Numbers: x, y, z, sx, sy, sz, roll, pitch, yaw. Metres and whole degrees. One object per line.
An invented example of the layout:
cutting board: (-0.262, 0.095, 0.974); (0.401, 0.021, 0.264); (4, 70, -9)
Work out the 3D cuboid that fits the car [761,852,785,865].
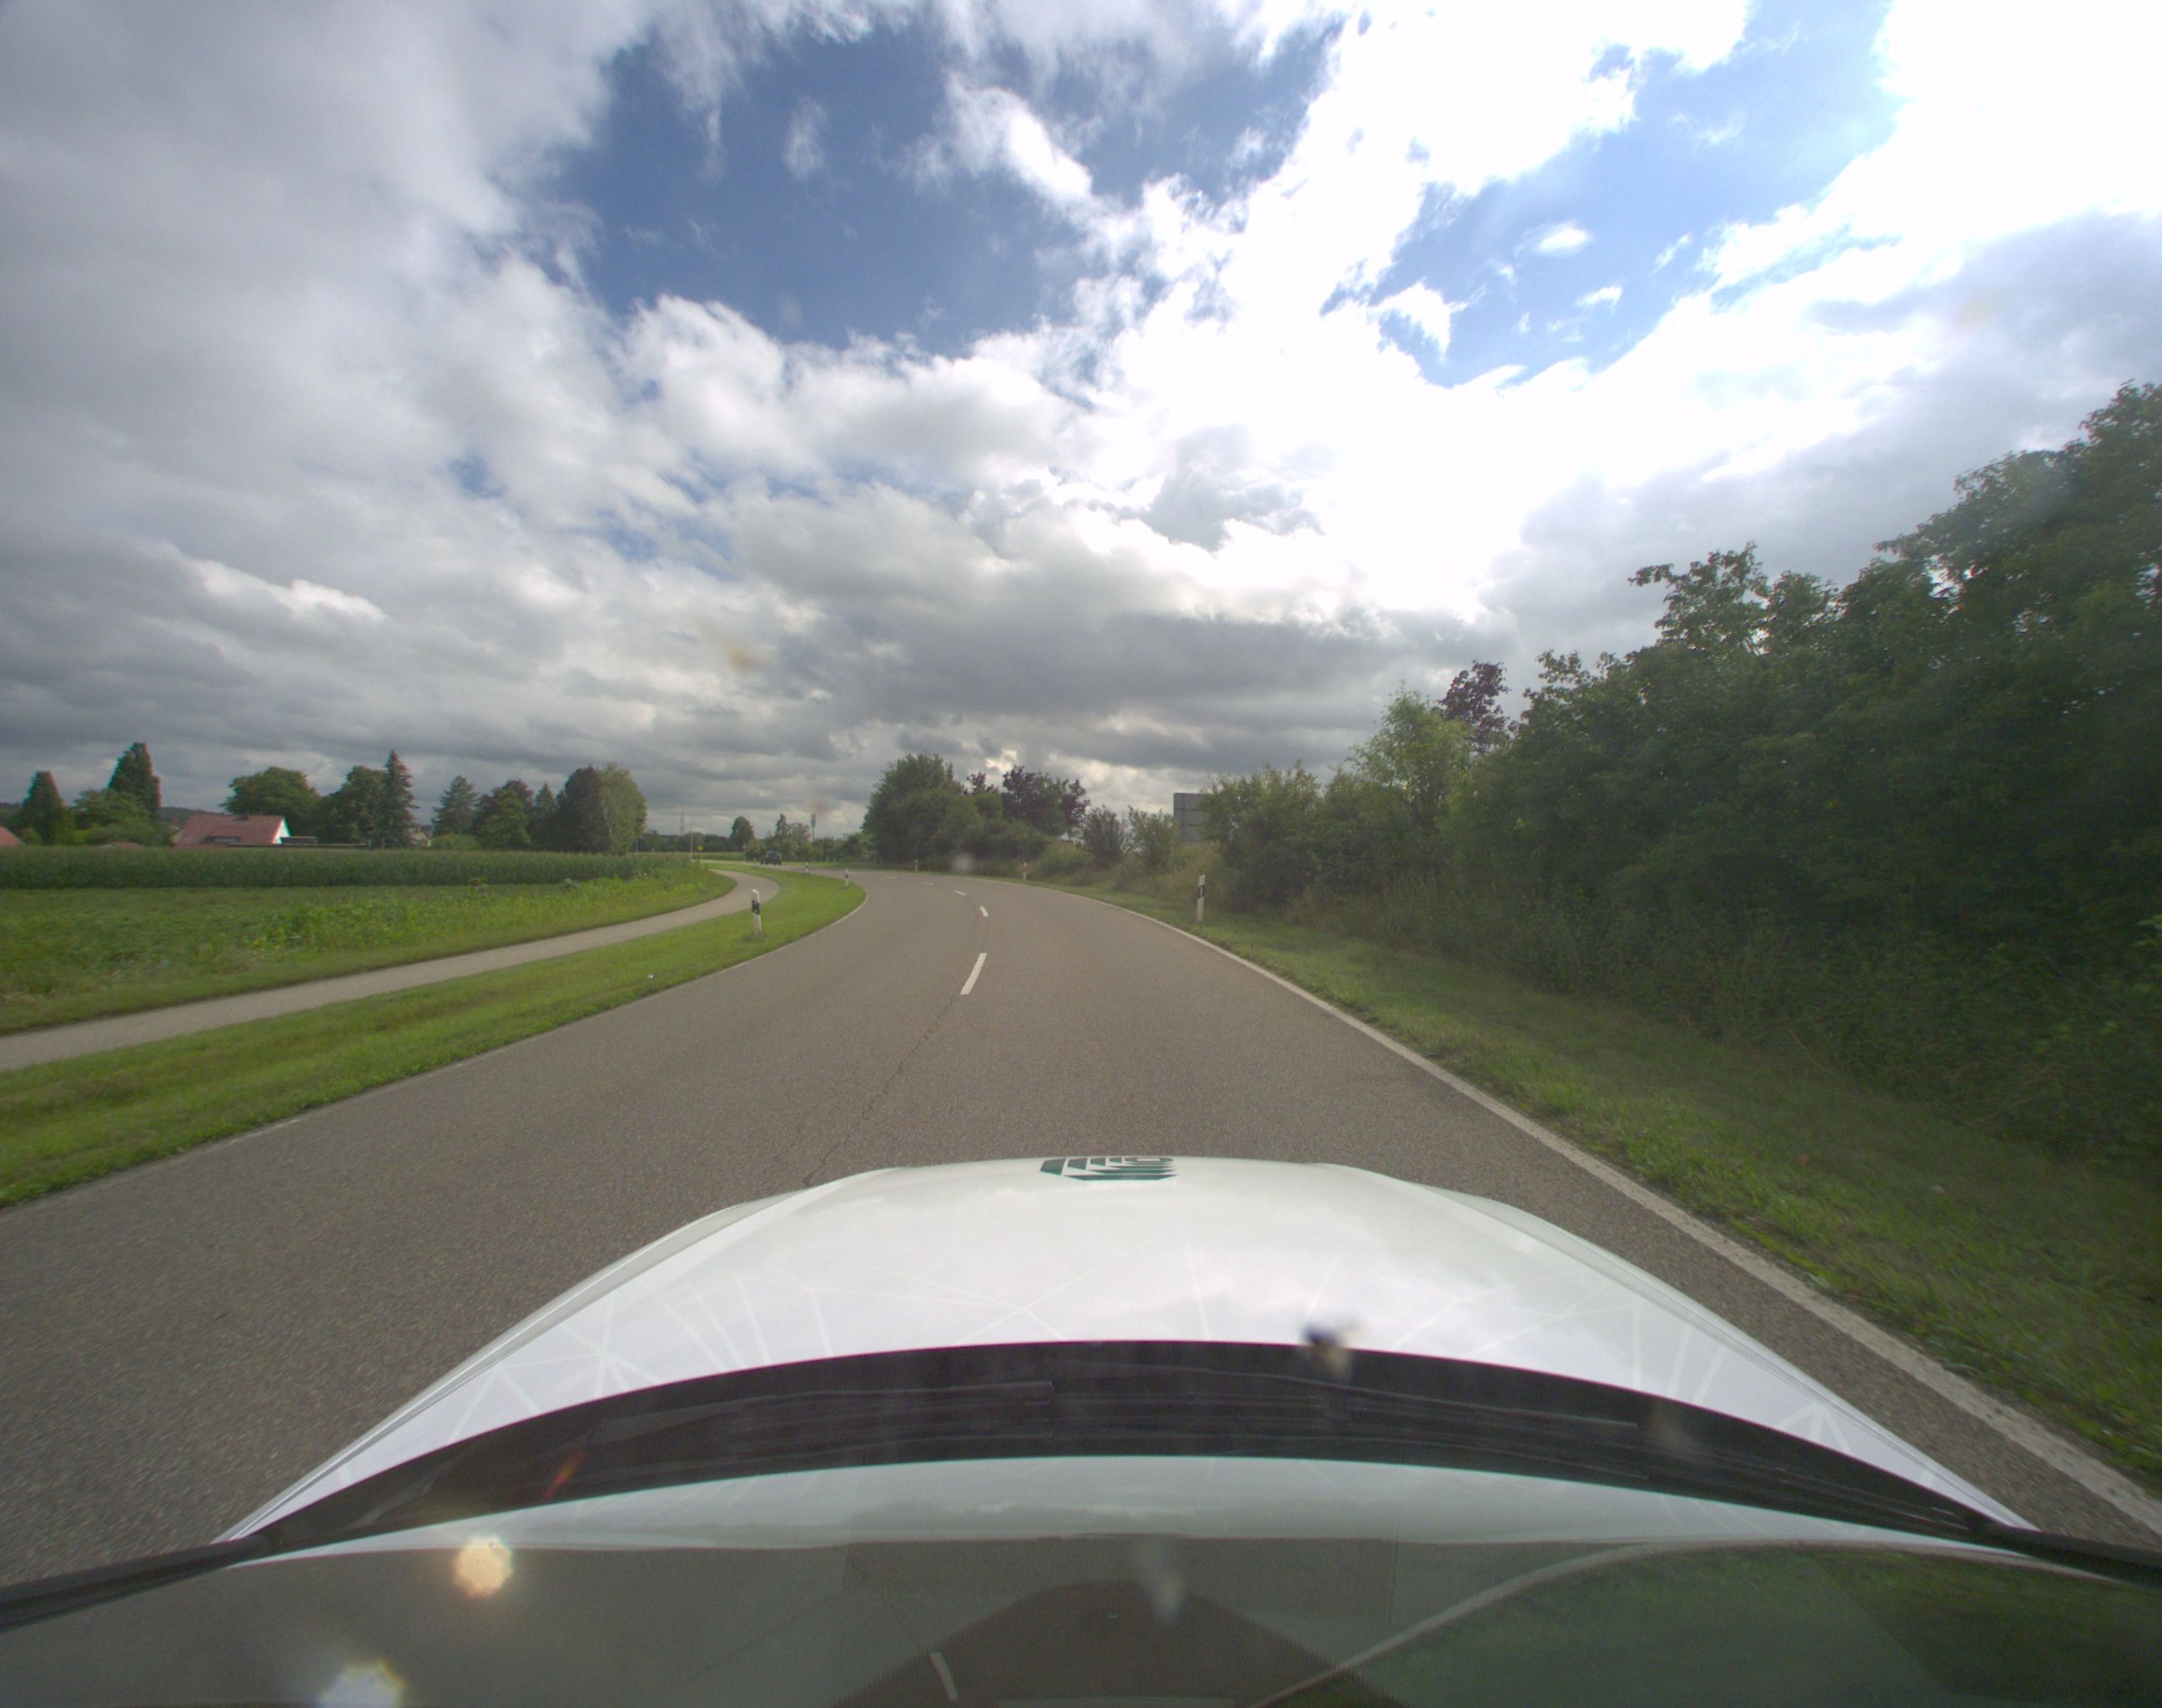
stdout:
car: (-38.499, 0.569, 101.847); (1.921, 1.666, 3.957); (0, 0, -35)
